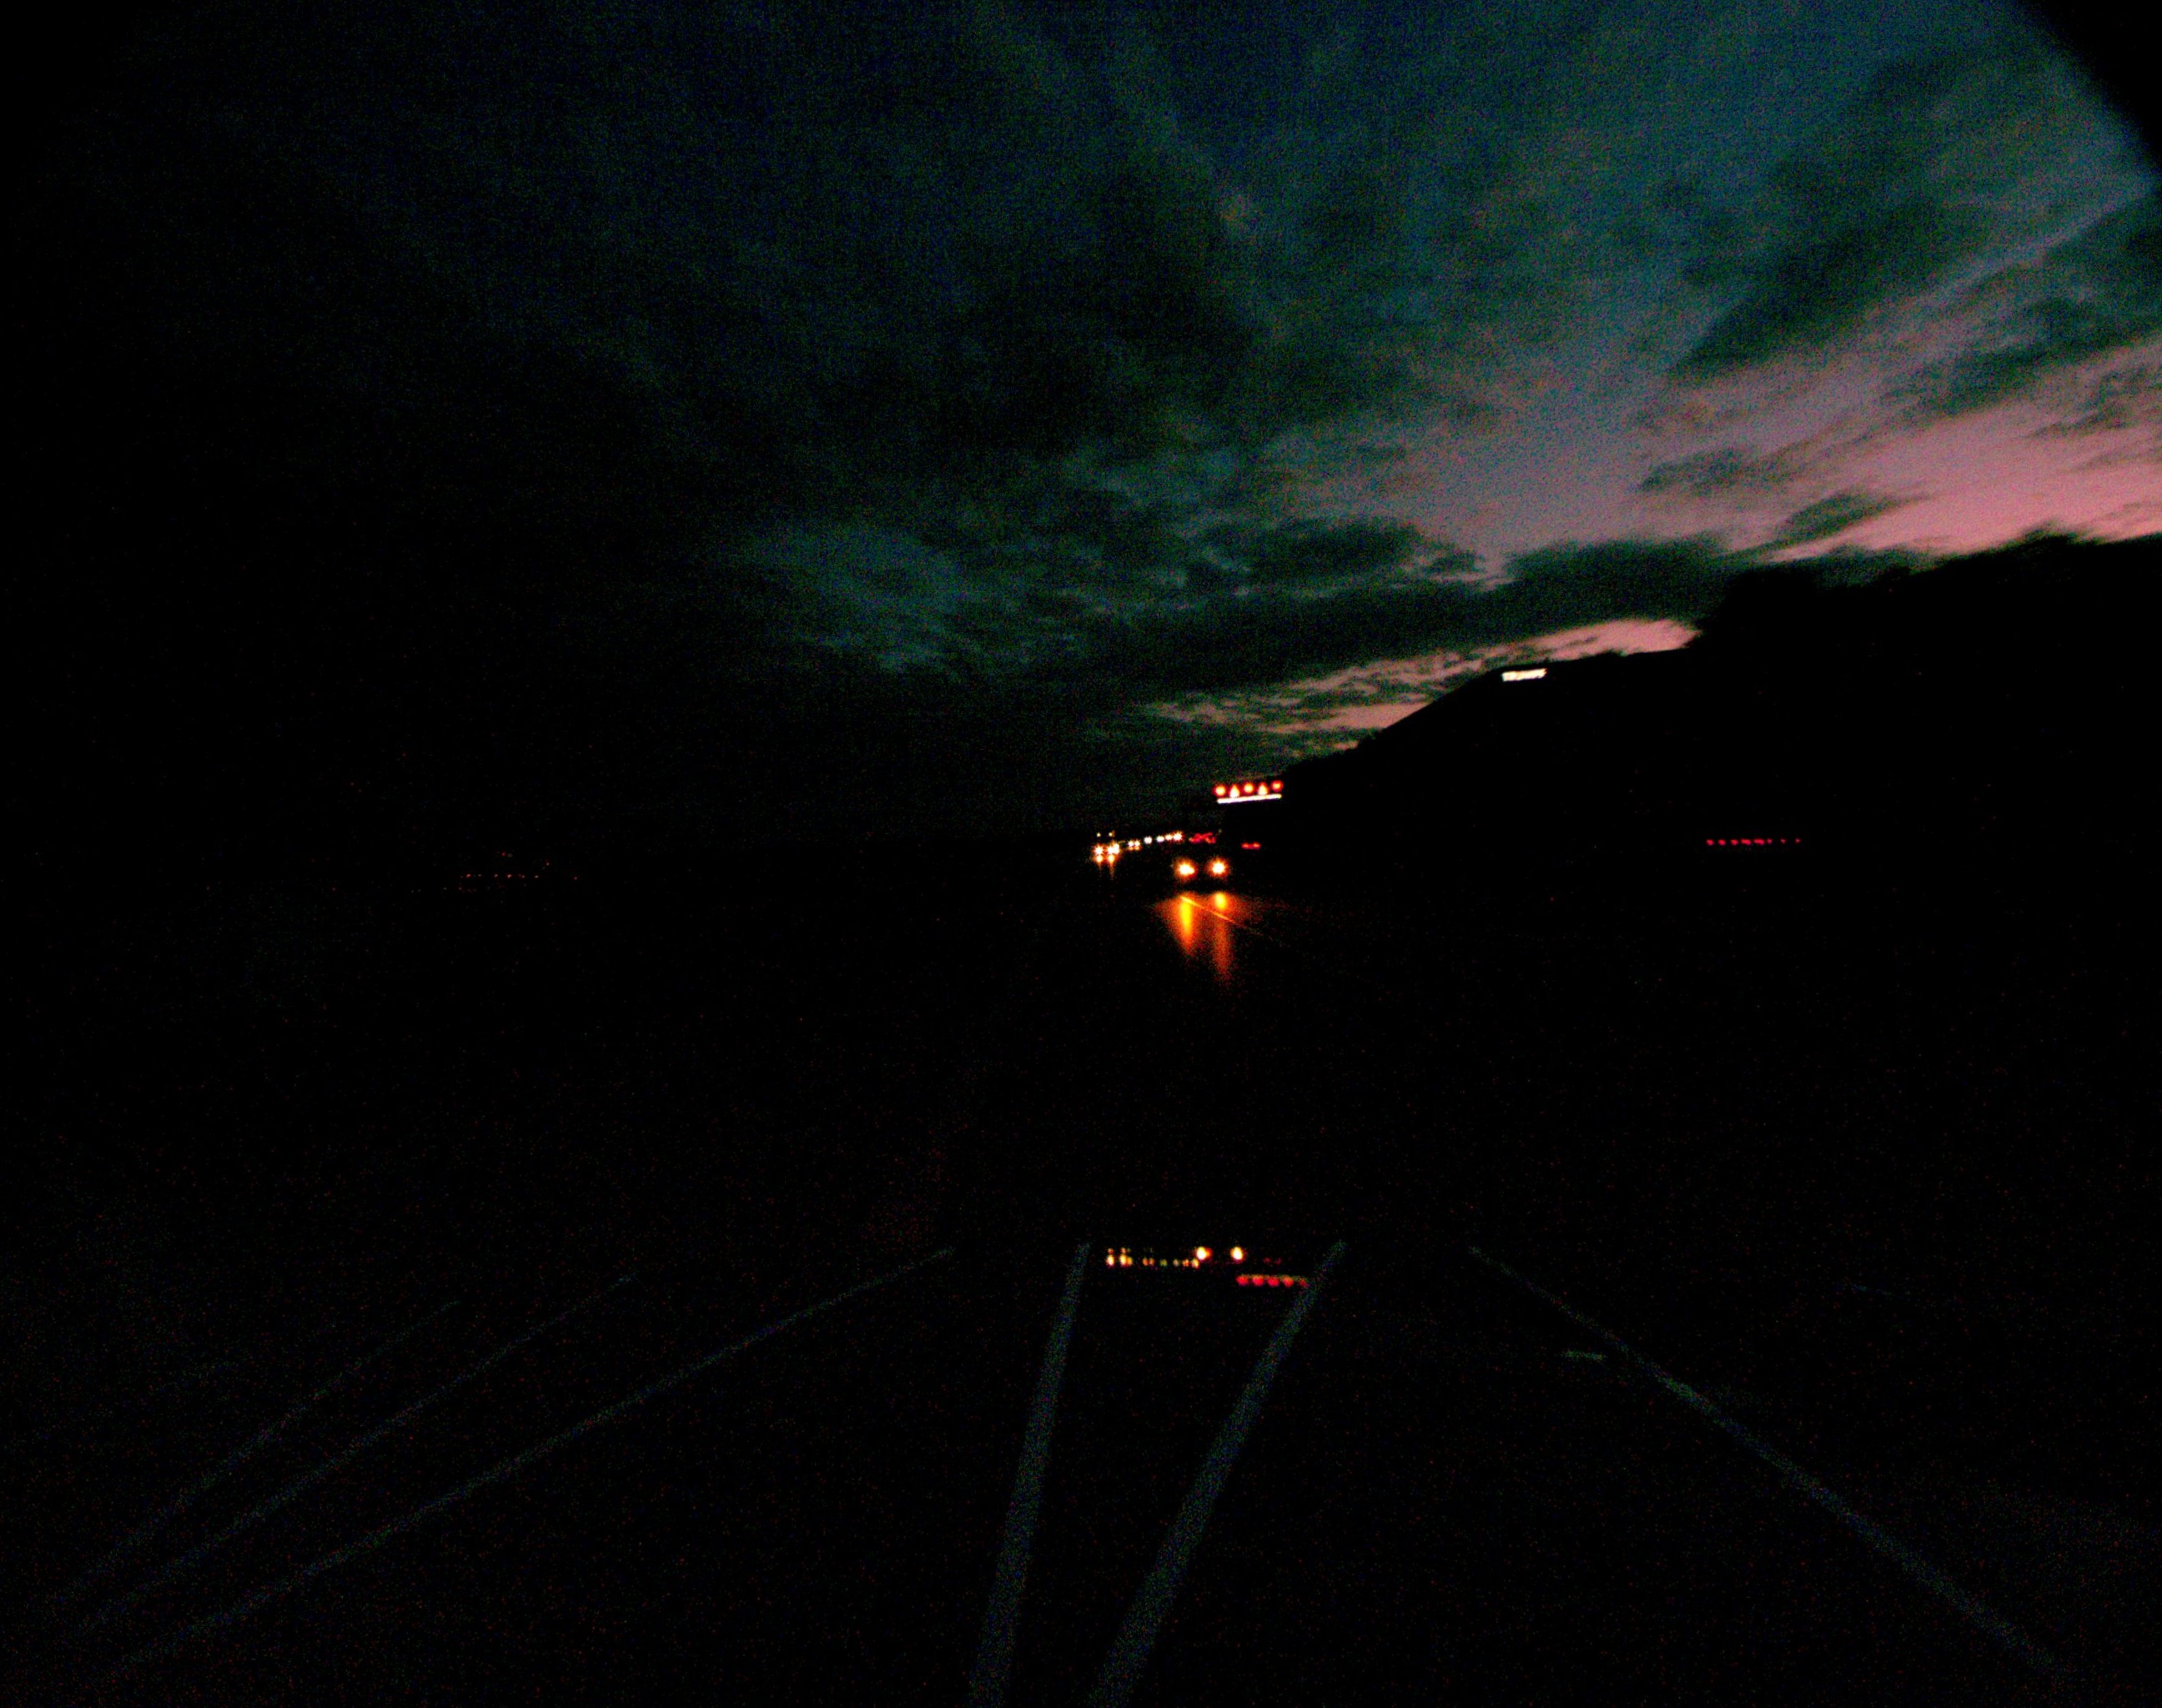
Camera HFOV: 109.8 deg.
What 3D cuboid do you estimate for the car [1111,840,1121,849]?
[{"bbox_3d":[8.384,-2.246,179.226,1.997,2.002,4.000,-3,2,6],"label":"car"}]

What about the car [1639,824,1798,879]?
[{"bbox_3d":[24.917,-0.159,29.996,1.999,1.883,5.056,-3,2,0],"label":"car"}]

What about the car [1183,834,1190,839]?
[{"bbox_3d":[35.278,-5.843,254.330,1.693,1.346,4.897,-3,2,4],"label":"car"}]

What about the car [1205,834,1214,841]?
[{"bbox_3d":[35.937,-4.707,212.392,1.917,1.857,5.523,-3,2,4],"label":"car"}]

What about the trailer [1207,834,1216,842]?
[{"bbox_3d":[35.503,-4.468,206.515,1.917,1.991,4.241,-4,1,4],"label":"trailer"}]

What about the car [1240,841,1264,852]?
[{"bbox_3d":[22.919,-1.059,102.031,2.065,1.219,5.232,-3,2,1],"label":"car"}]

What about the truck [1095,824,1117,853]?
[{"bbox_3d":[4.284,-2.644,125.980,3.026,4.373,11.615,-3,2,4],"label":"truck"}]

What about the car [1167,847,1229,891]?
[{"bbox_3d":[4.551,0.551,30.169,1.717,1.471,3.998,-3,2,-1],"label":"car"}]

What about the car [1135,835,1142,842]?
[{"bbox_3d":[14.621,-3.900,192.571,1.653,1.655,3.774,-3,2,2],"label":"car"}]

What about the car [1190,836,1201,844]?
[{"bbox_3d":[29.555,-3.590,195.786,1.917,1.857,6.014,-3,2,2],"label":"car"}]
